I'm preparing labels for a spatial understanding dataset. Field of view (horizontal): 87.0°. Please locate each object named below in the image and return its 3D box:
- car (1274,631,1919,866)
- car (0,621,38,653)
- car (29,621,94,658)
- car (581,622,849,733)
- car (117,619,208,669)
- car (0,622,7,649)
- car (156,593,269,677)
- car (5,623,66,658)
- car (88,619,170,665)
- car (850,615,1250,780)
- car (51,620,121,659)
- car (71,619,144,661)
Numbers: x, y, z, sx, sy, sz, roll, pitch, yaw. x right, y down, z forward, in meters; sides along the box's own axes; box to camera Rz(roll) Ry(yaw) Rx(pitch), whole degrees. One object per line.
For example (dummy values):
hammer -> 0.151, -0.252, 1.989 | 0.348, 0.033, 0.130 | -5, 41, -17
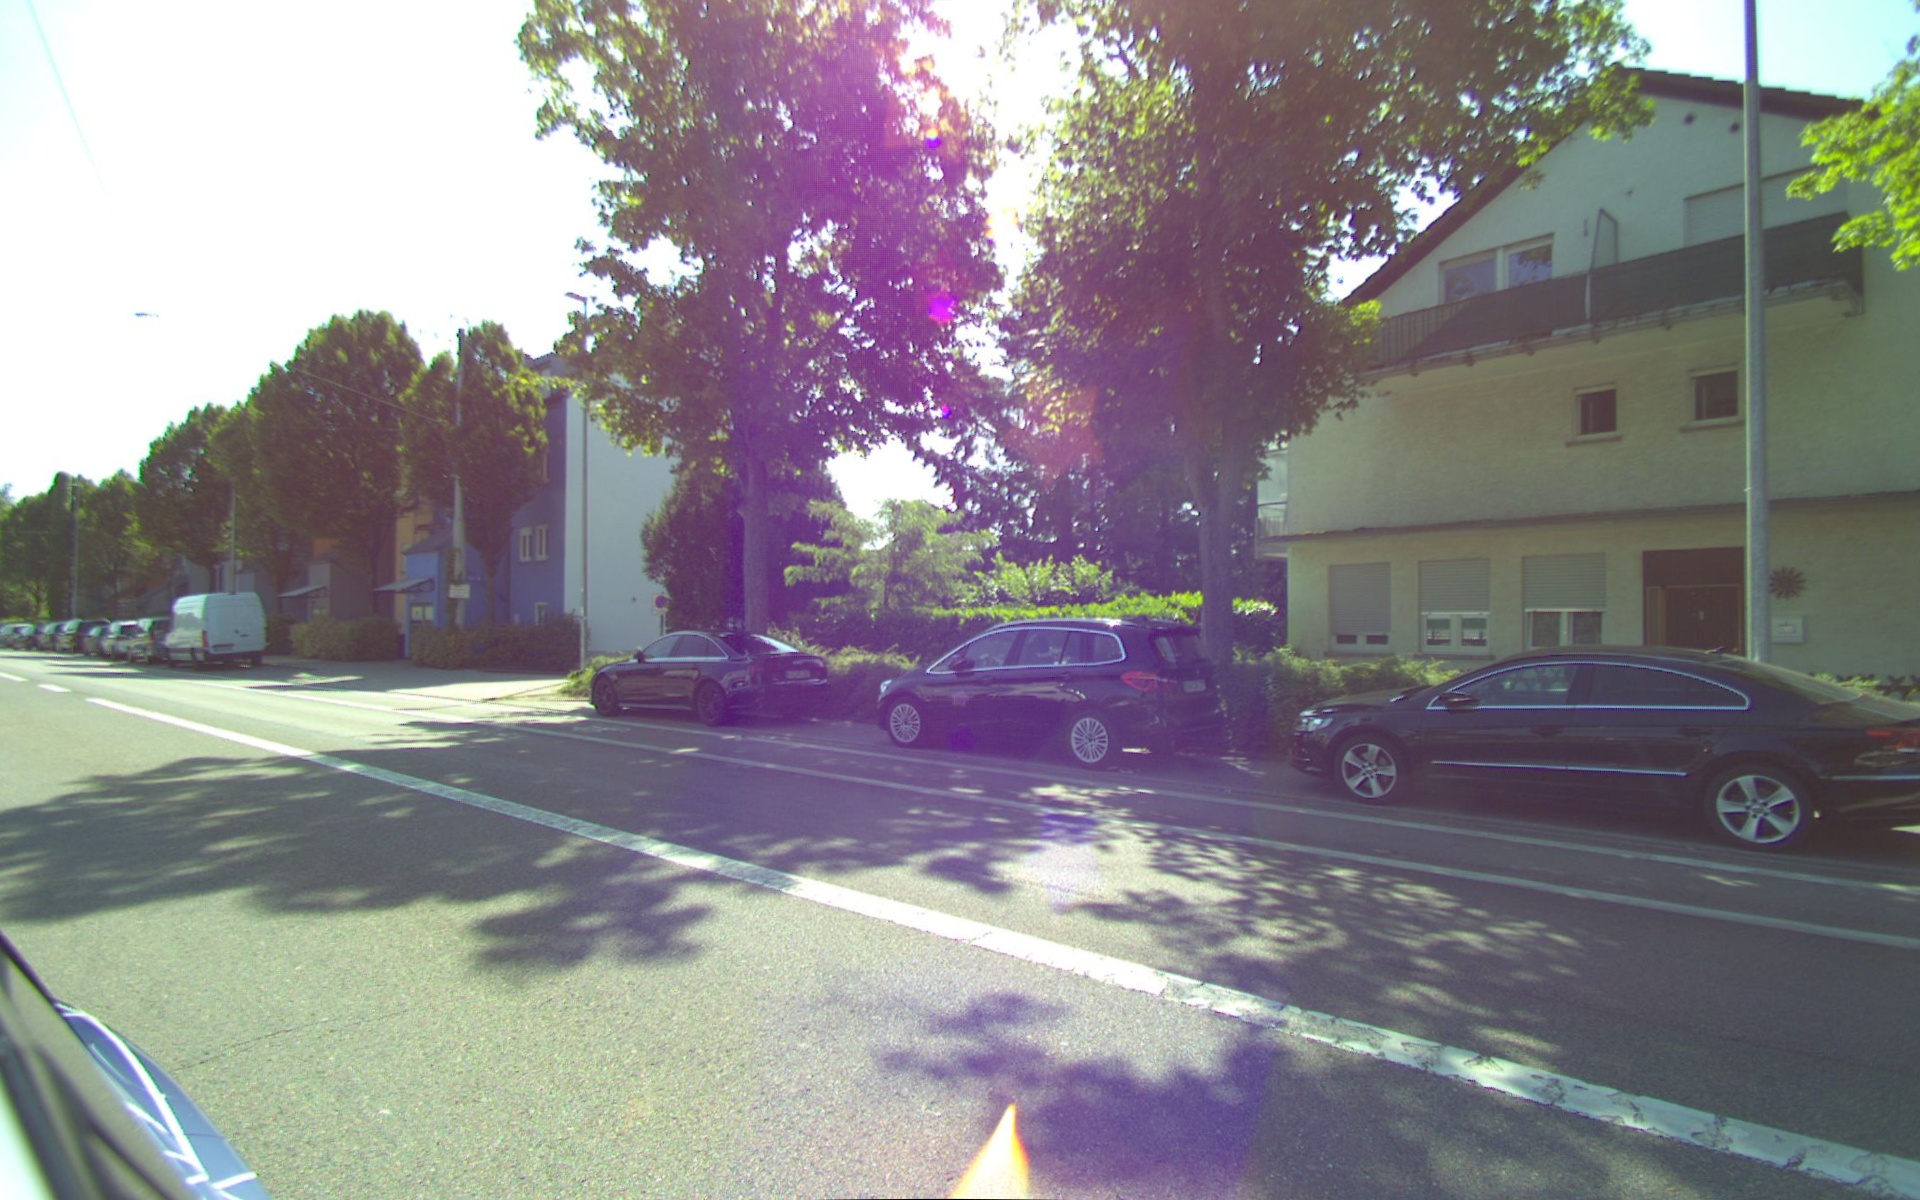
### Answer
car -> 5.231, 1.010, 8.459 | 4.619, 1.426, 1.844 | -1, 0, 41
car -> -60.276, 2.357, 64.197 | 4.766, 1.818, 1.974 | -2, 4, 41
car -> -50.284, 2.199, 56.620 | 4.766, 1.818, 1.974 | -2, 4, 41
car -> -4.087, 1.154, 16.513 | 4.616, 1.583, 1.845 | -1, -2, 39
car -> -33.522, 1.810, 42.507 | 4.766, 1.818, 1.974 | -2, 4, 41
car -> -68.747, 2.577, 71.137 | 4.766, 1.818, 1.974 | -2, 4, 41
car -> -27.376, 1.239, 36.957 | 6.213, 2.713, 1.973 | -2, 4, 43
car -> -54.909, 2.378, 60.104 | 4.766, 1.818, 1.974 | -2, 4, 41
car -> -38.050, 1.877, 46.295 | 4.766, 1.818, 1.974 | -2, 4, 41
car -> 0.928, 1.016, 12.246 | 4.619, 1.583, 1.844 | -1, 0, 41
car -> -45.843, 2.049, 53.051 | 4.766, 1.818, 1.974 | -2, 4, 41
car -> -42.129, 1.959, 49.998 | 4.254, 1.818, 1.974 | -2, 4, 41
